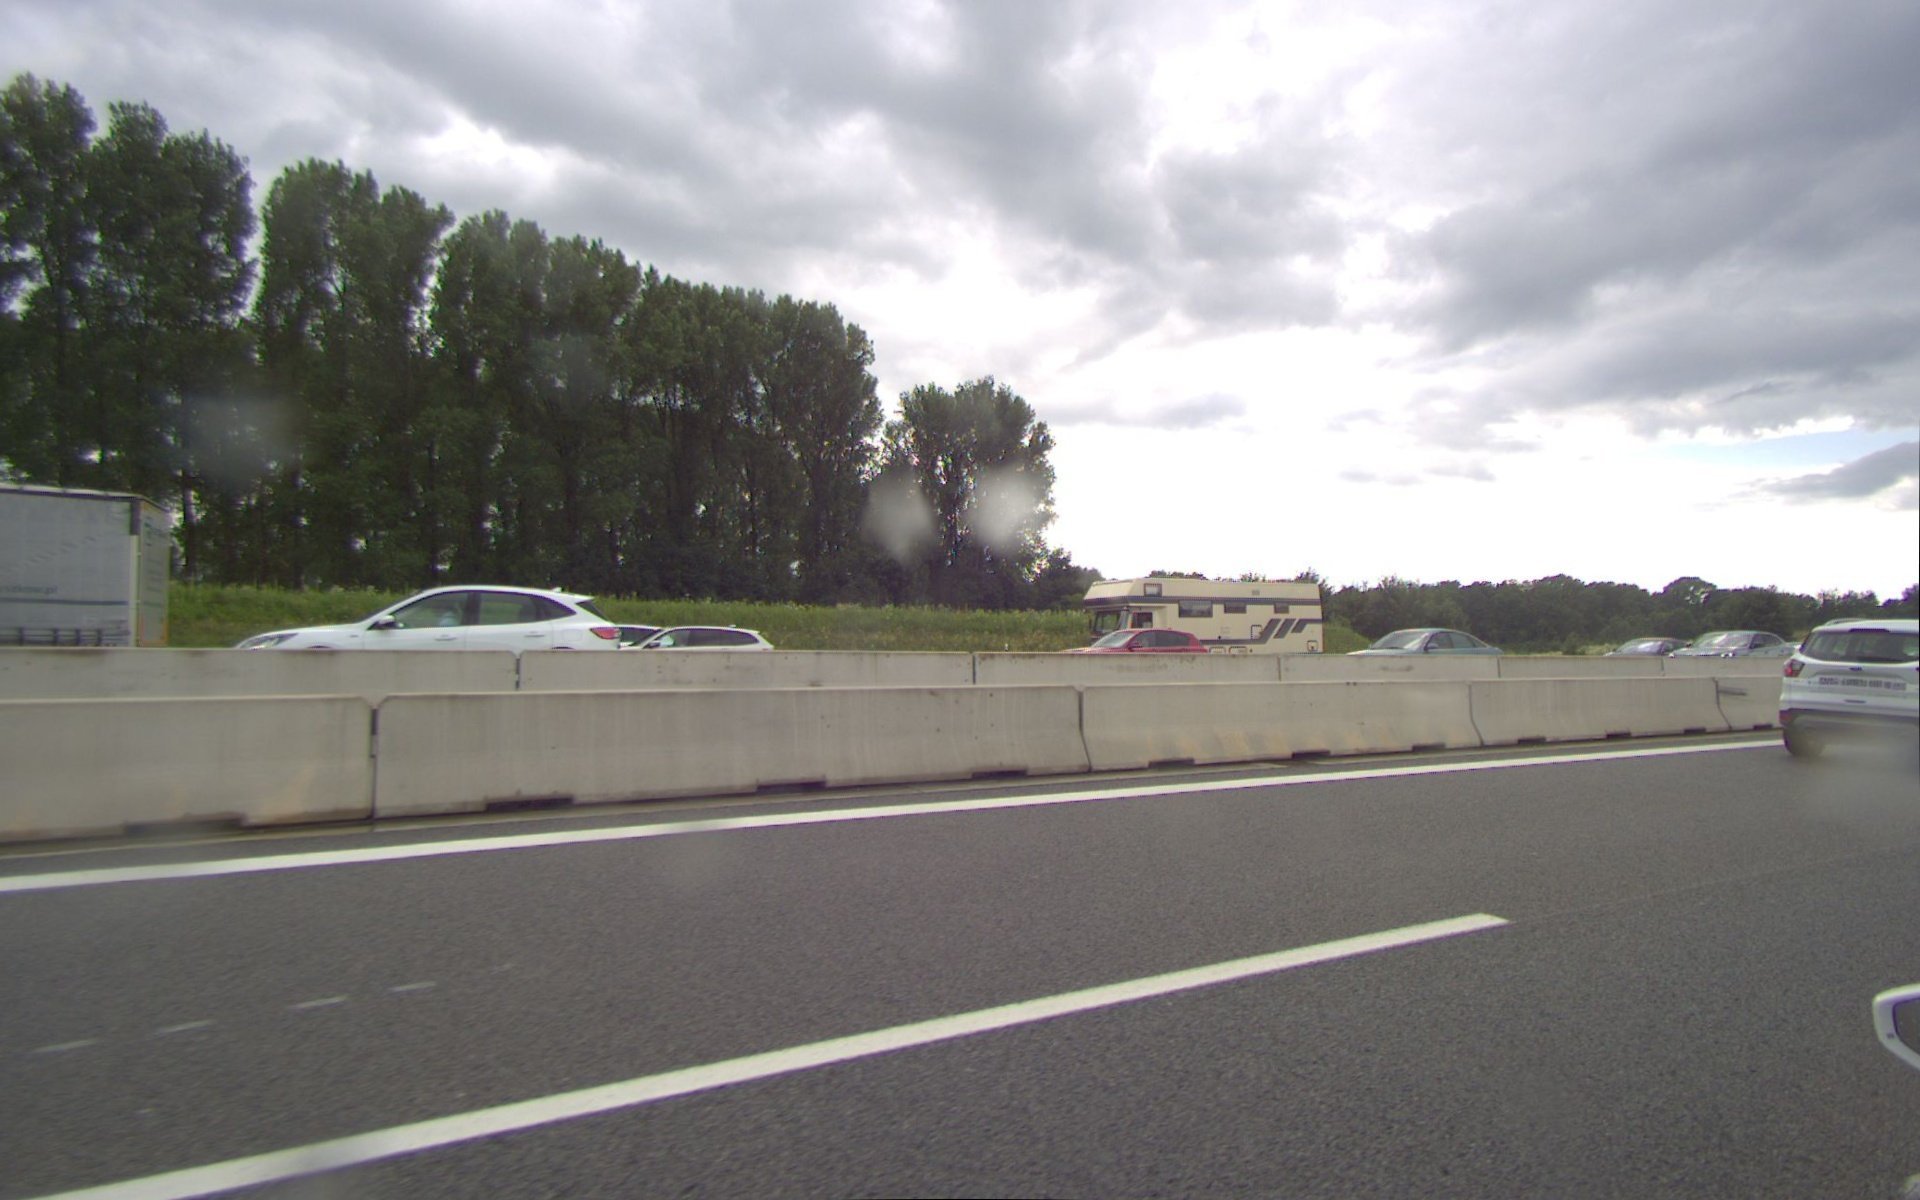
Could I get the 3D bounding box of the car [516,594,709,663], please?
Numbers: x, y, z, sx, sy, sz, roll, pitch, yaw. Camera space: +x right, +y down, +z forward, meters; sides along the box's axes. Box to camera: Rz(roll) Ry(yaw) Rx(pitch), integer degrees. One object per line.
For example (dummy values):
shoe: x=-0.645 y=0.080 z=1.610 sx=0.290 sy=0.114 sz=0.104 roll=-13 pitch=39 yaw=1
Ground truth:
car: x=-8.845 y=0.742 z=25.654 sx=4.349 sy=1.639 sz=1.984 roll=2 pitch=-1 yaw=-30

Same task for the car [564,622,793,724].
car: x=-6.264 y=1.572 z=22.442 sx=4.581 sy=2.040 sz=1.985 roll=2 pitch=-1 yaw=-29

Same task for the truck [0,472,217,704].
truck: x=-22.366 y=-0.338 z=18.262 sx=13.780 sy=4.370 sz=3.135 roll=2 pitch=-1 yaw=-29

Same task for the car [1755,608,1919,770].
car: x=11.998 y=1.005 z=12.349 sx=4.793 sy=1.712 sz=1.807 roll=1 pitch=-1 yaw=-29

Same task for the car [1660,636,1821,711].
car: x=23.399 y=2.146 z=30.074 sx=5.119 sy=2.040 sz=1.985 roll=2 pitch=-1 yaw=-29

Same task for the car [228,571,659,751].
car: x=-6.625 y=0.759 z=13.346 sx=4.704 sy=2.040 sz=1.985 roll=2 pitch=-1 yaw=-28

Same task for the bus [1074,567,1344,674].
bus: x=8.893 y=0.799 z=35.307 sx=9.837 sy=3.377 sz=2.820 roll=2 pitch=-1 yaw=-28

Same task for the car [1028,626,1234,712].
car: x=4.099 y=1.594 z=23.889 sx=4.581 sy=1.852 sz=1.985 roll=2 pitch=-1 yaw=-29

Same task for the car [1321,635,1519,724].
car: x=10.938 y=1.825 z=23.813 sx=4.581 sy=1.879 sz=1.984 roll=2 pitch=-1 yaw=-30
